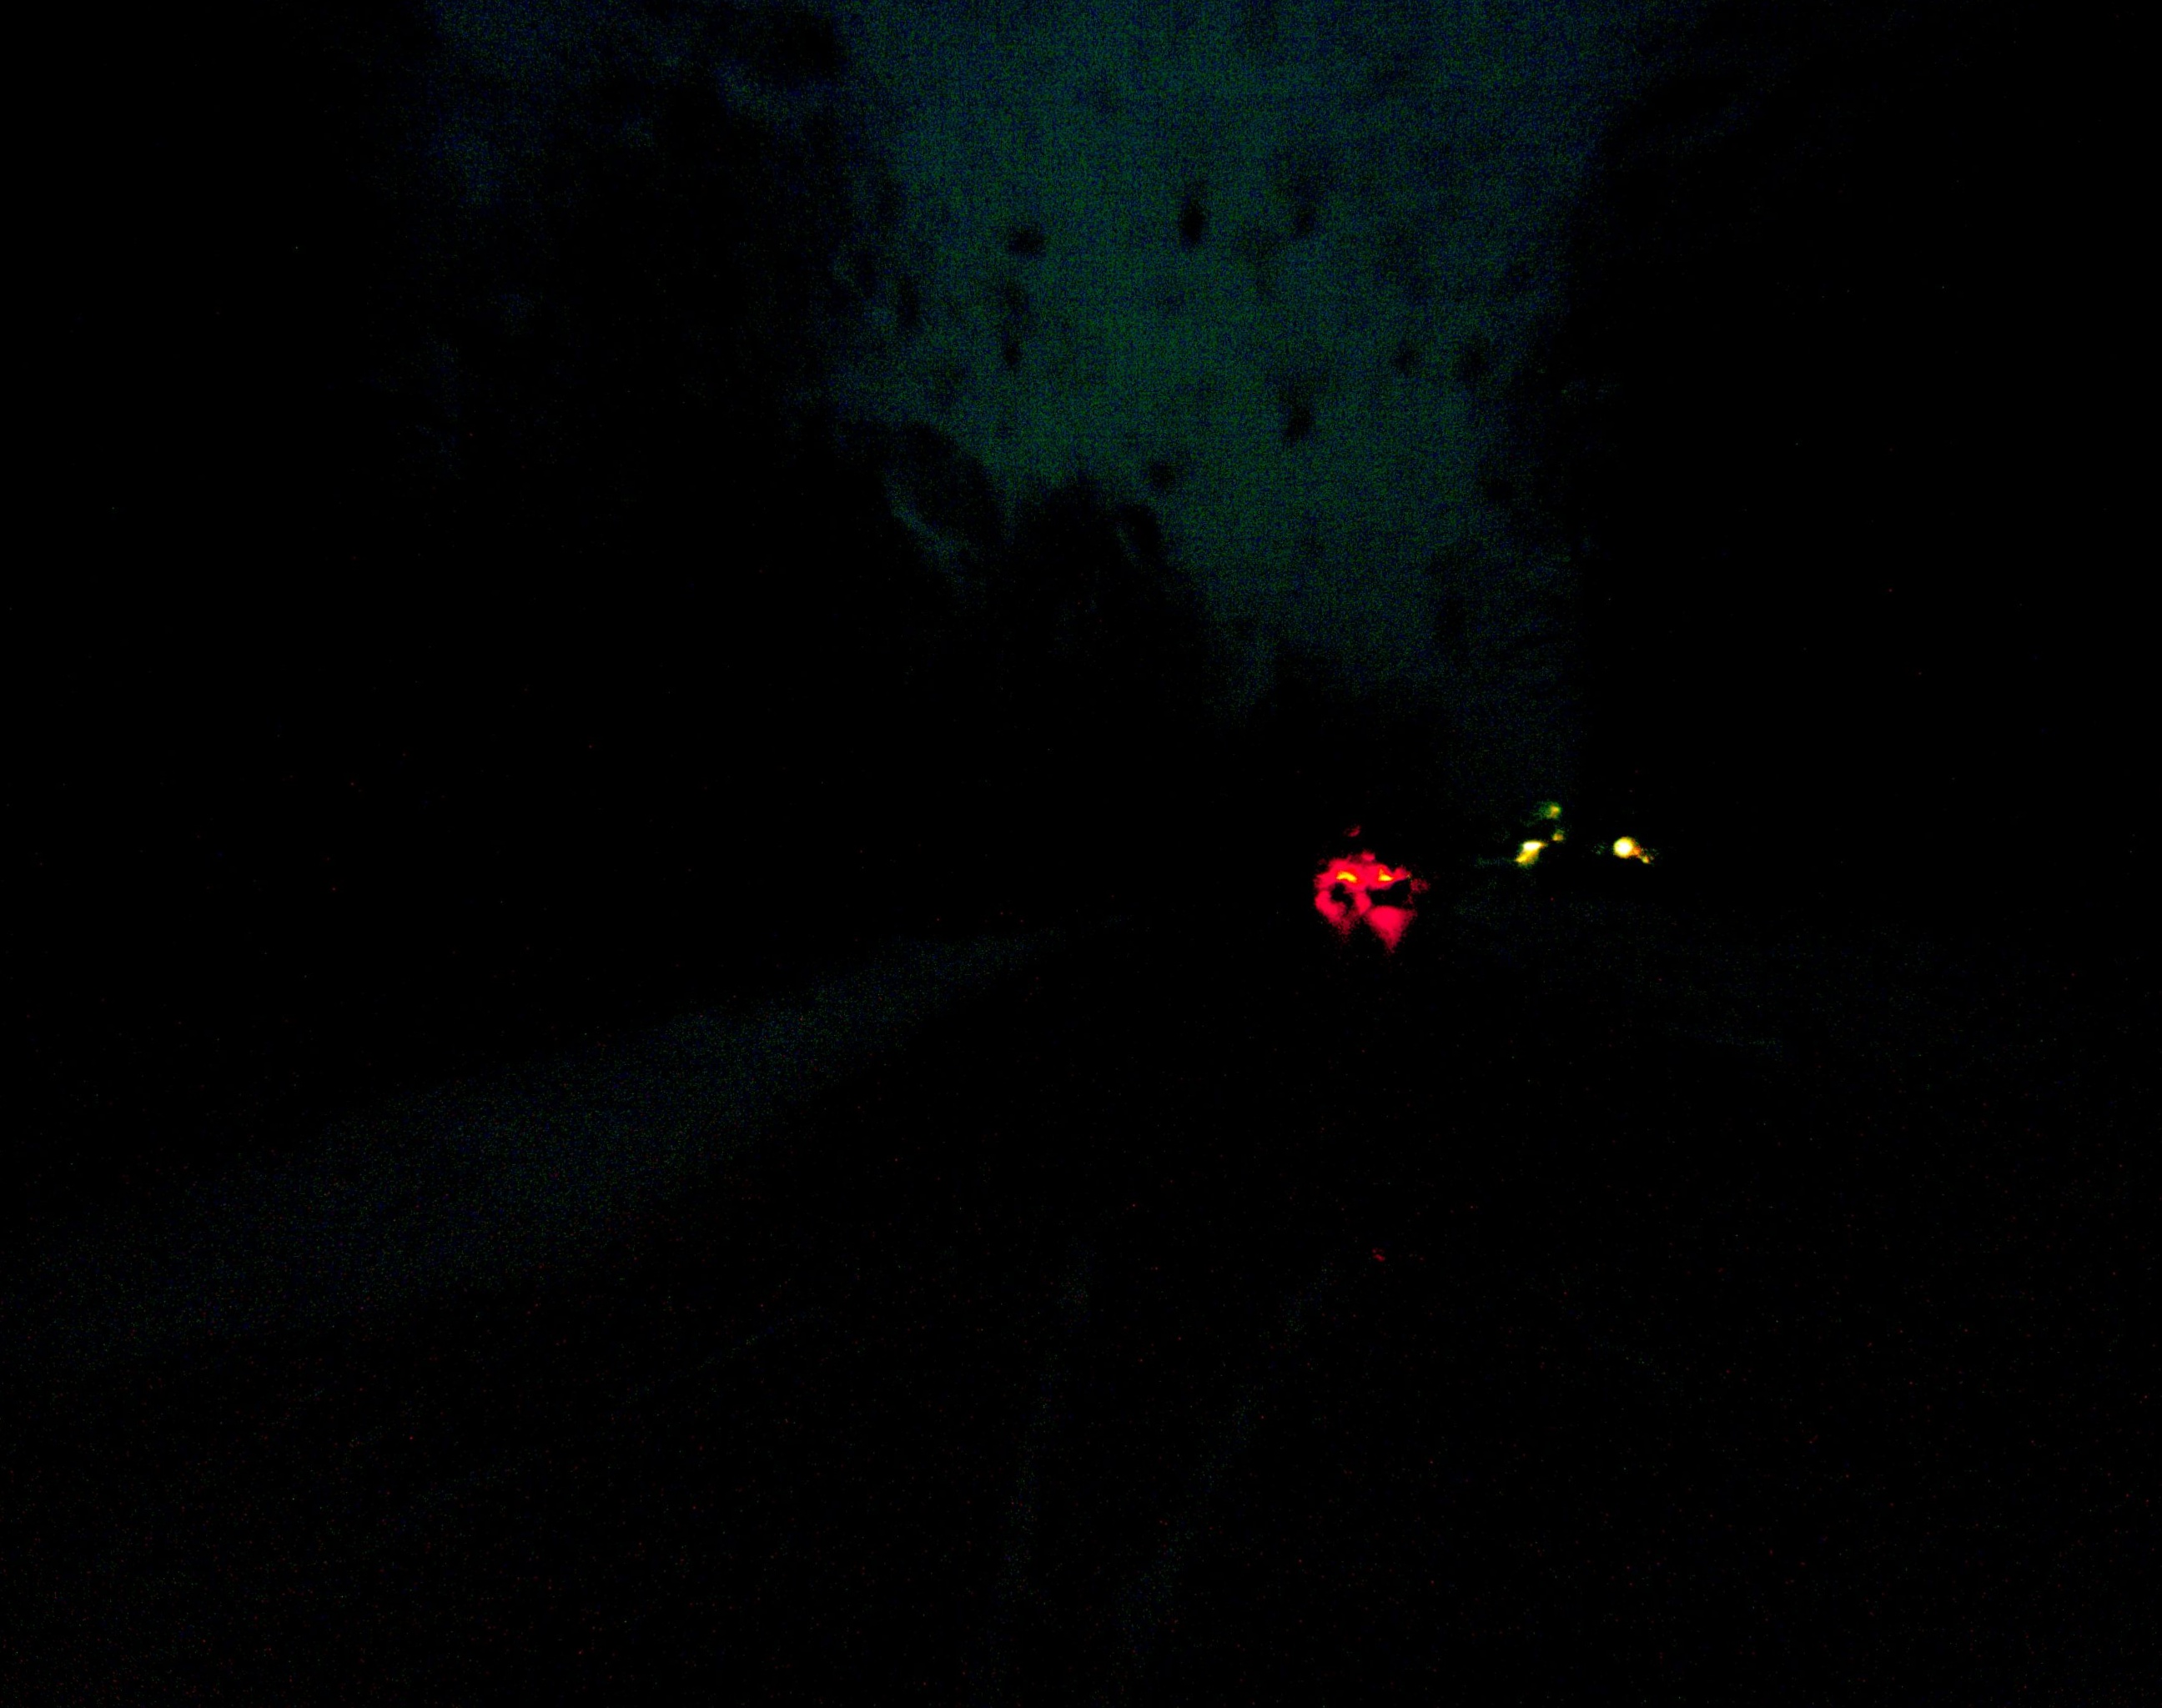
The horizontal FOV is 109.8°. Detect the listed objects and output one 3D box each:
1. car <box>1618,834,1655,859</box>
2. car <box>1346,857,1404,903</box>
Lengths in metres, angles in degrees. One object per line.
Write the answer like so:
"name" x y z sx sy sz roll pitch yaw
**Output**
"car" 54.058 -0.749 73.901 4.006 2.001 1.996 -5 -3 -43
"car" 10.375 0.853 26.708 1.775 1.484 4.556 0 0 22
